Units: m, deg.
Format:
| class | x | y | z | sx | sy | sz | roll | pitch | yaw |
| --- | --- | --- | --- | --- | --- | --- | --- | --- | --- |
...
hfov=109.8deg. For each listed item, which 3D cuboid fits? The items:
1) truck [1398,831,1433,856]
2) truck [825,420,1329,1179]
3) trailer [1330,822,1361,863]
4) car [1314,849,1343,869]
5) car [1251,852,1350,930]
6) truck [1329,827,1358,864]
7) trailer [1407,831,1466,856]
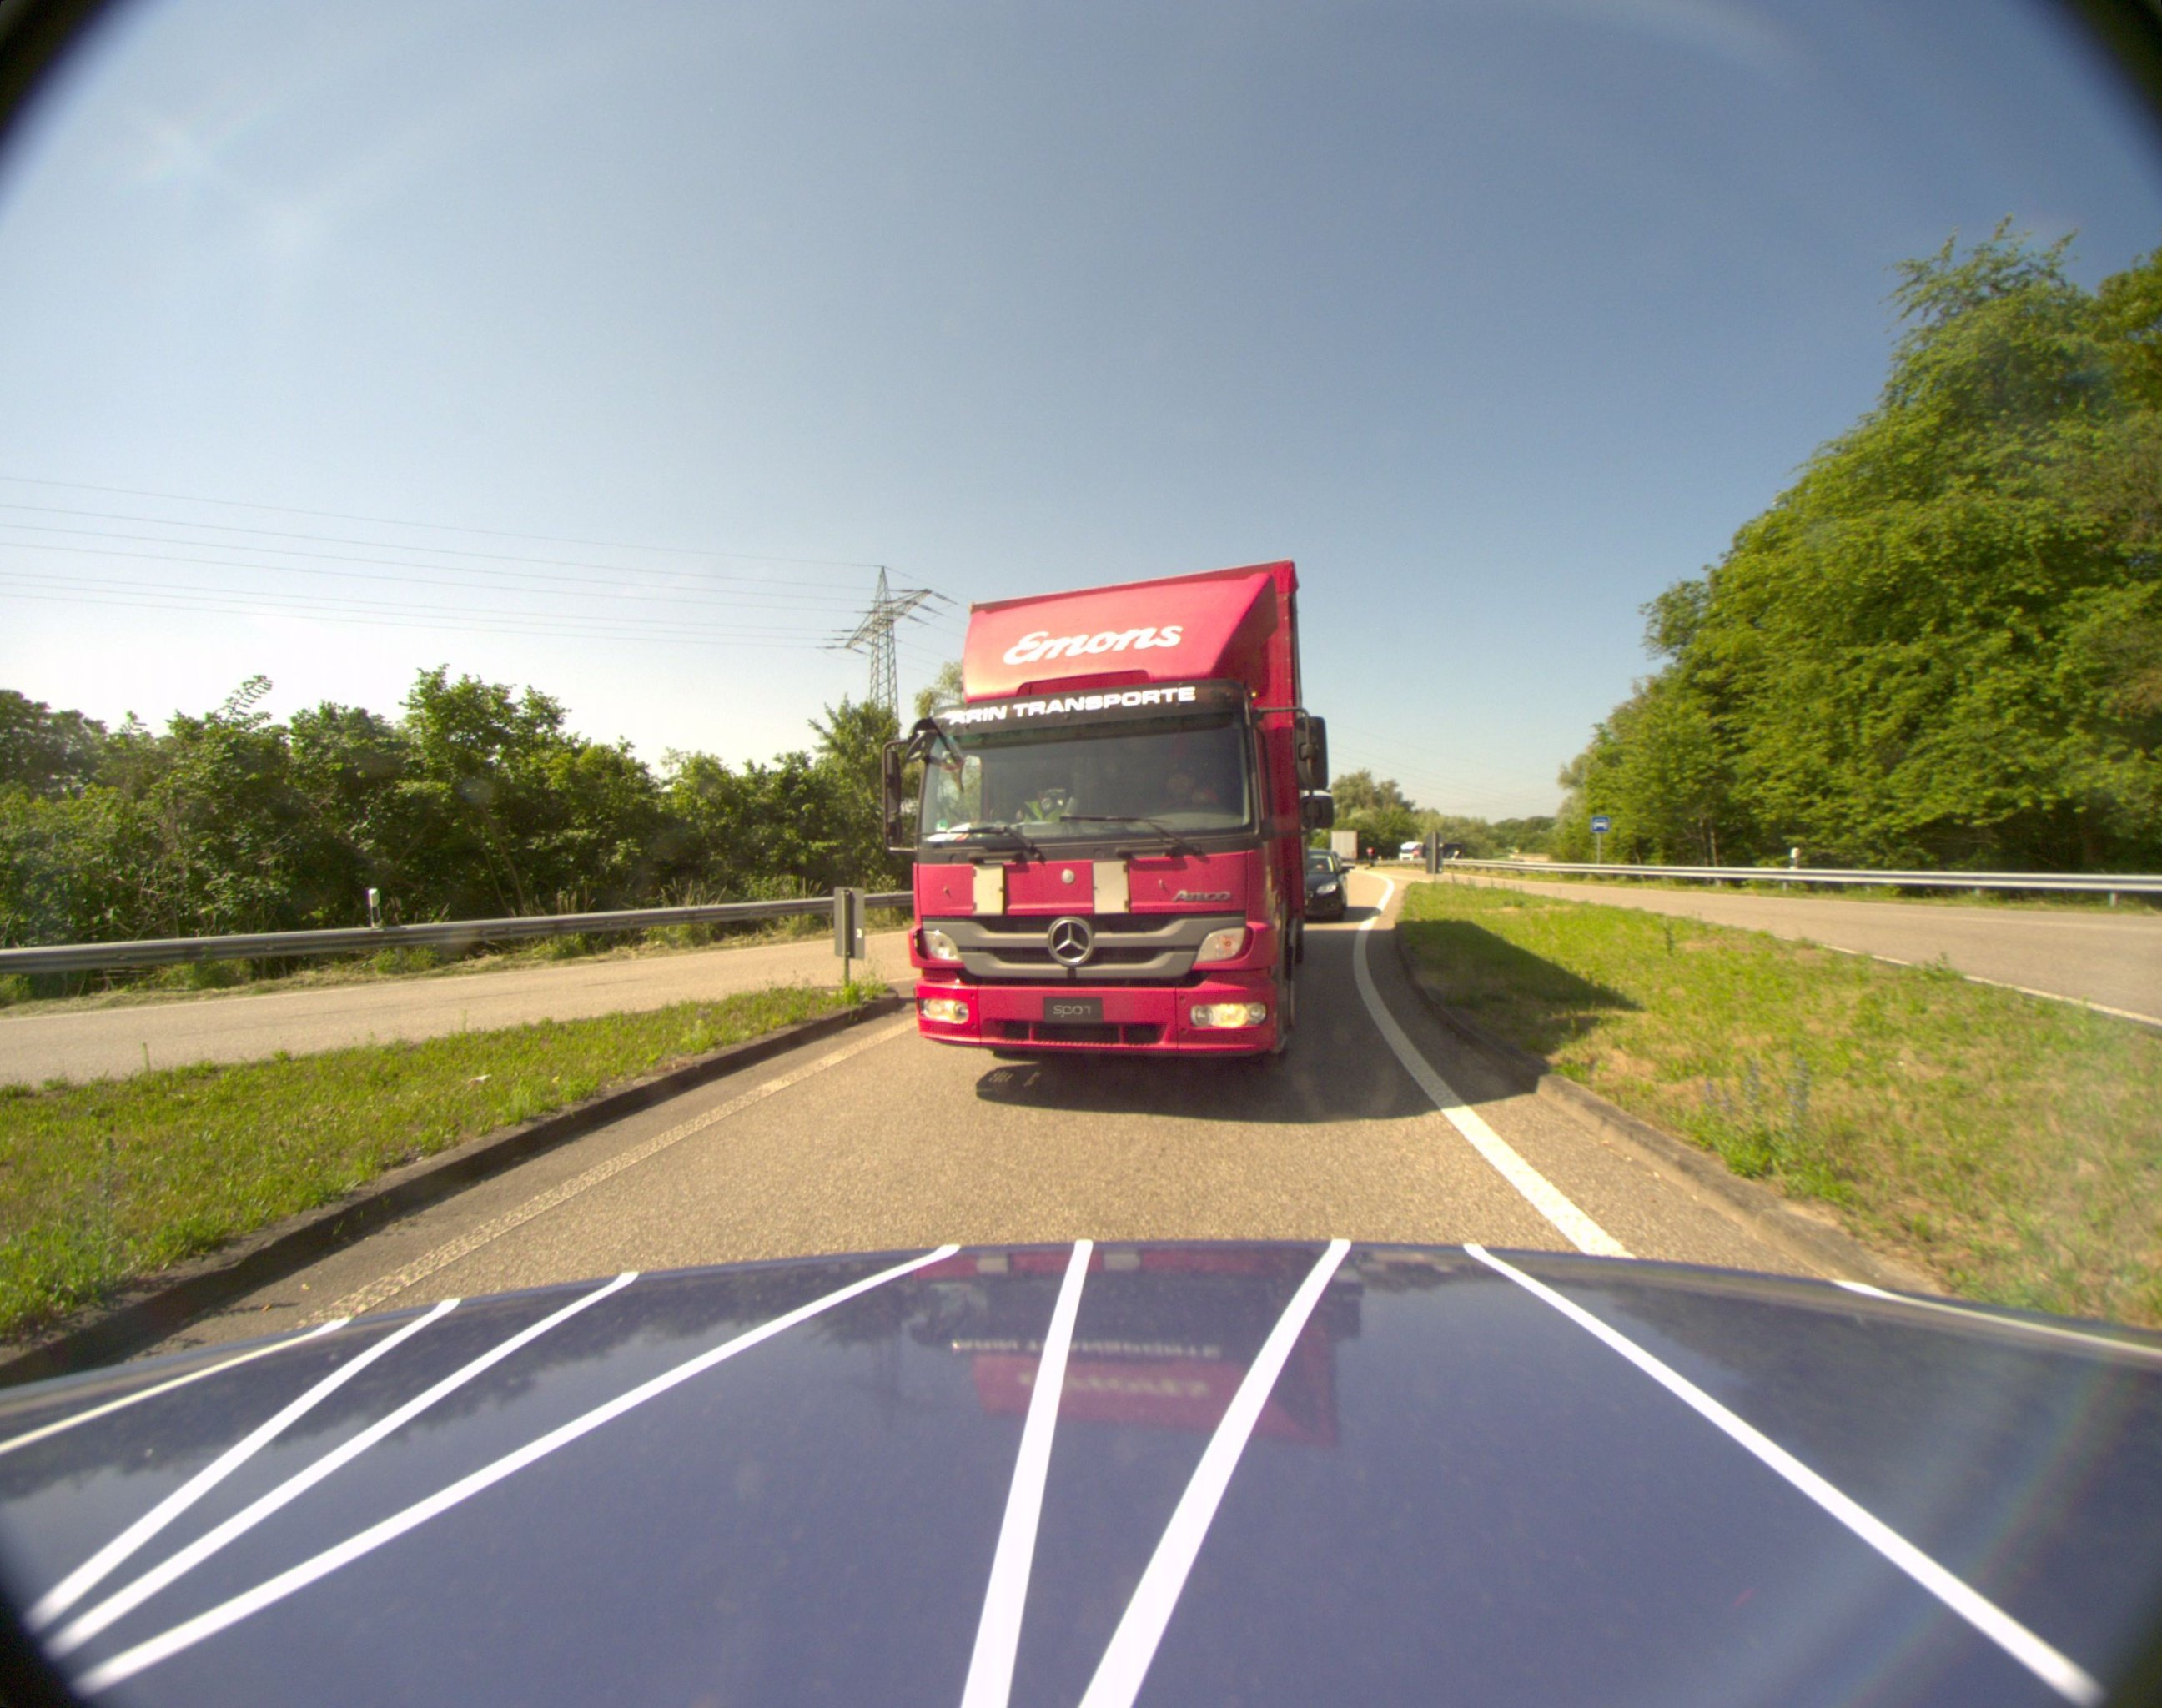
| class | x | y | z | sx | sy | sz | roll | pitch | yaw |
| --- | --- | --- | --- | --- | --- | --- | --- | --- | --- |
| truck | 57.242 | -1.759 | 129.888 | 5.744 | 4.213 | 2.932 | 0 | 1 | -36 |
| truck | 1.192 | -0.276 | 8.468 | 2.686 | 3.640 | 9.273 | -1 | 0 | 17 |
| trailer | 29.564 | -1.255 | 85.338 | 2.953 | 4.243 | 13.998 | 1 | 1 | 18 |
| car | 18.211 | 0.327 | 55.981 | 1.785 | 1.377 | 4.383 | -2 | 0 | 15 |
| car | 4.845 | 0.710 | 16.404 | 1.785 | 1.406 | 4.005 | -1 | 0 | 20 |
| truck | 31.663 | -1.036 | 91.822 | 2.934 | 4.222 | 5.739 | 1 | 1 | 17 |
| trailer | 62.722 | -1.736 | 133.939 | 14.007 | 4.216 | 2.922 | 0 | 2 | -36 |
